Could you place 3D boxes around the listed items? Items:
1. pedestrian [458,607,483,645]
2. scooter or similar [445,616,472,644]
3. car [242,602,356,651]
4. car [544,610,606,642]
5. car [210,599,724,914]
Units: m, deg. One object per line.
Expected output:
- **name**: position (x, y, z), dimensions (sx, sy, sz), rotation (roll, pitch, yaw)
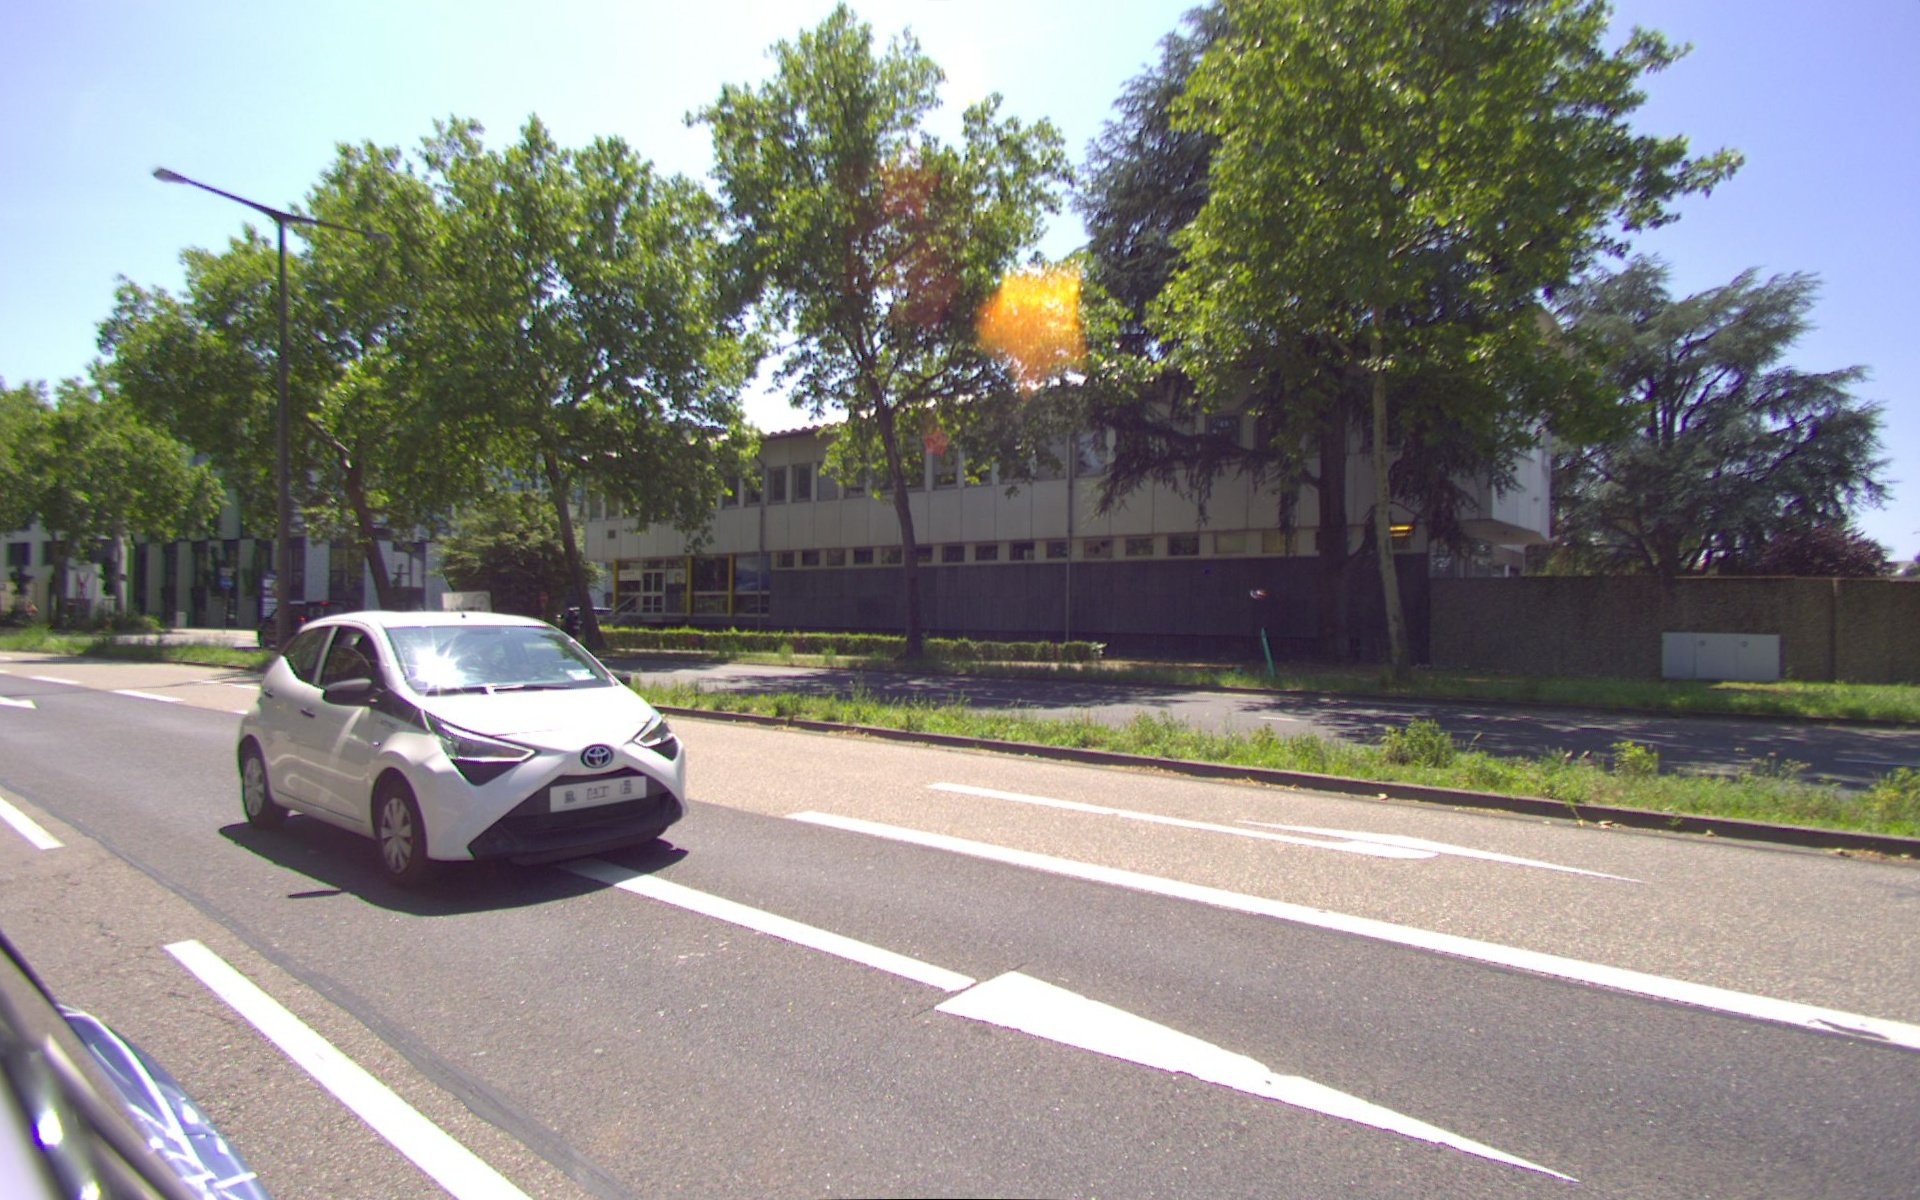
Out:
- **pedestrian**: position (-20.832, 1.103, 43.069), dimensions (0.788, 1.572, 0.637), rotation (0, -2, 31)
- **scooter or similar**: position (-21.549, 1.277, 43.504), dimensions (0.856, 1.172, 0.673), rotation (0, -2, 31)
- **car**: position (-24.134, 0.945, 36.923), dimensions (4.431, 1.692, 1.896), rotation (-1, -1, 34)
- **car**: position (-21.832, 1.446, 57.374), dimensions (3.525, 1.659, 1.797), rotation (0, 0, 40)
- **car**: position (-3.296, 0.752, 6.489), dimensions (3.648, 1.456, 1.602), rotation (-1, -2, 40)
